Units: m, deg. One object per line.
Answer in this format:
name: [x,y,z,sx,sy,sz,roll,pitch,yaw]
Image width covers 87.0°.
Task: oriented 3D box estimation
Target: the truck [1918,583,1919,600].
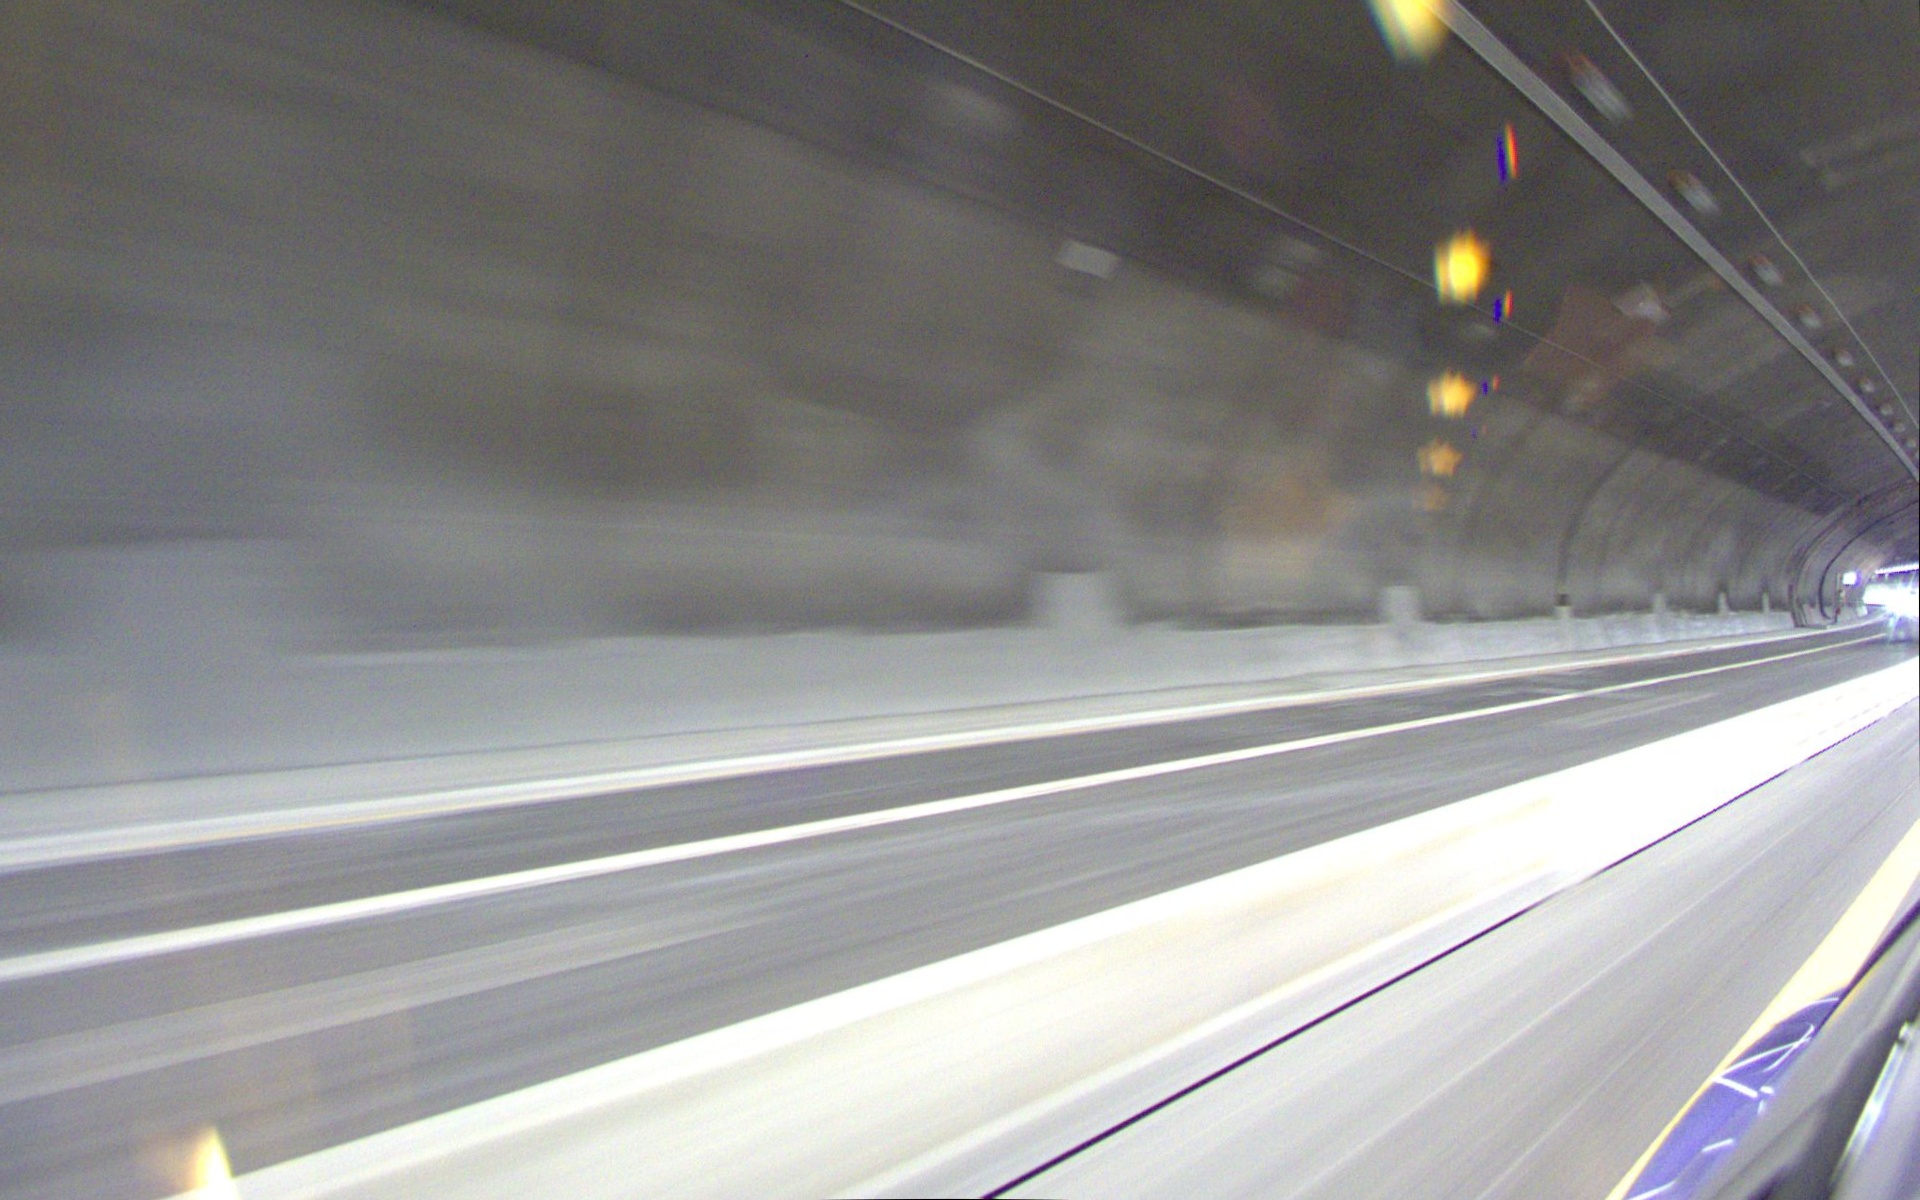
truck: [160.008,-1.397,166.757,2.598,2.774,6.307,0,0,39]
